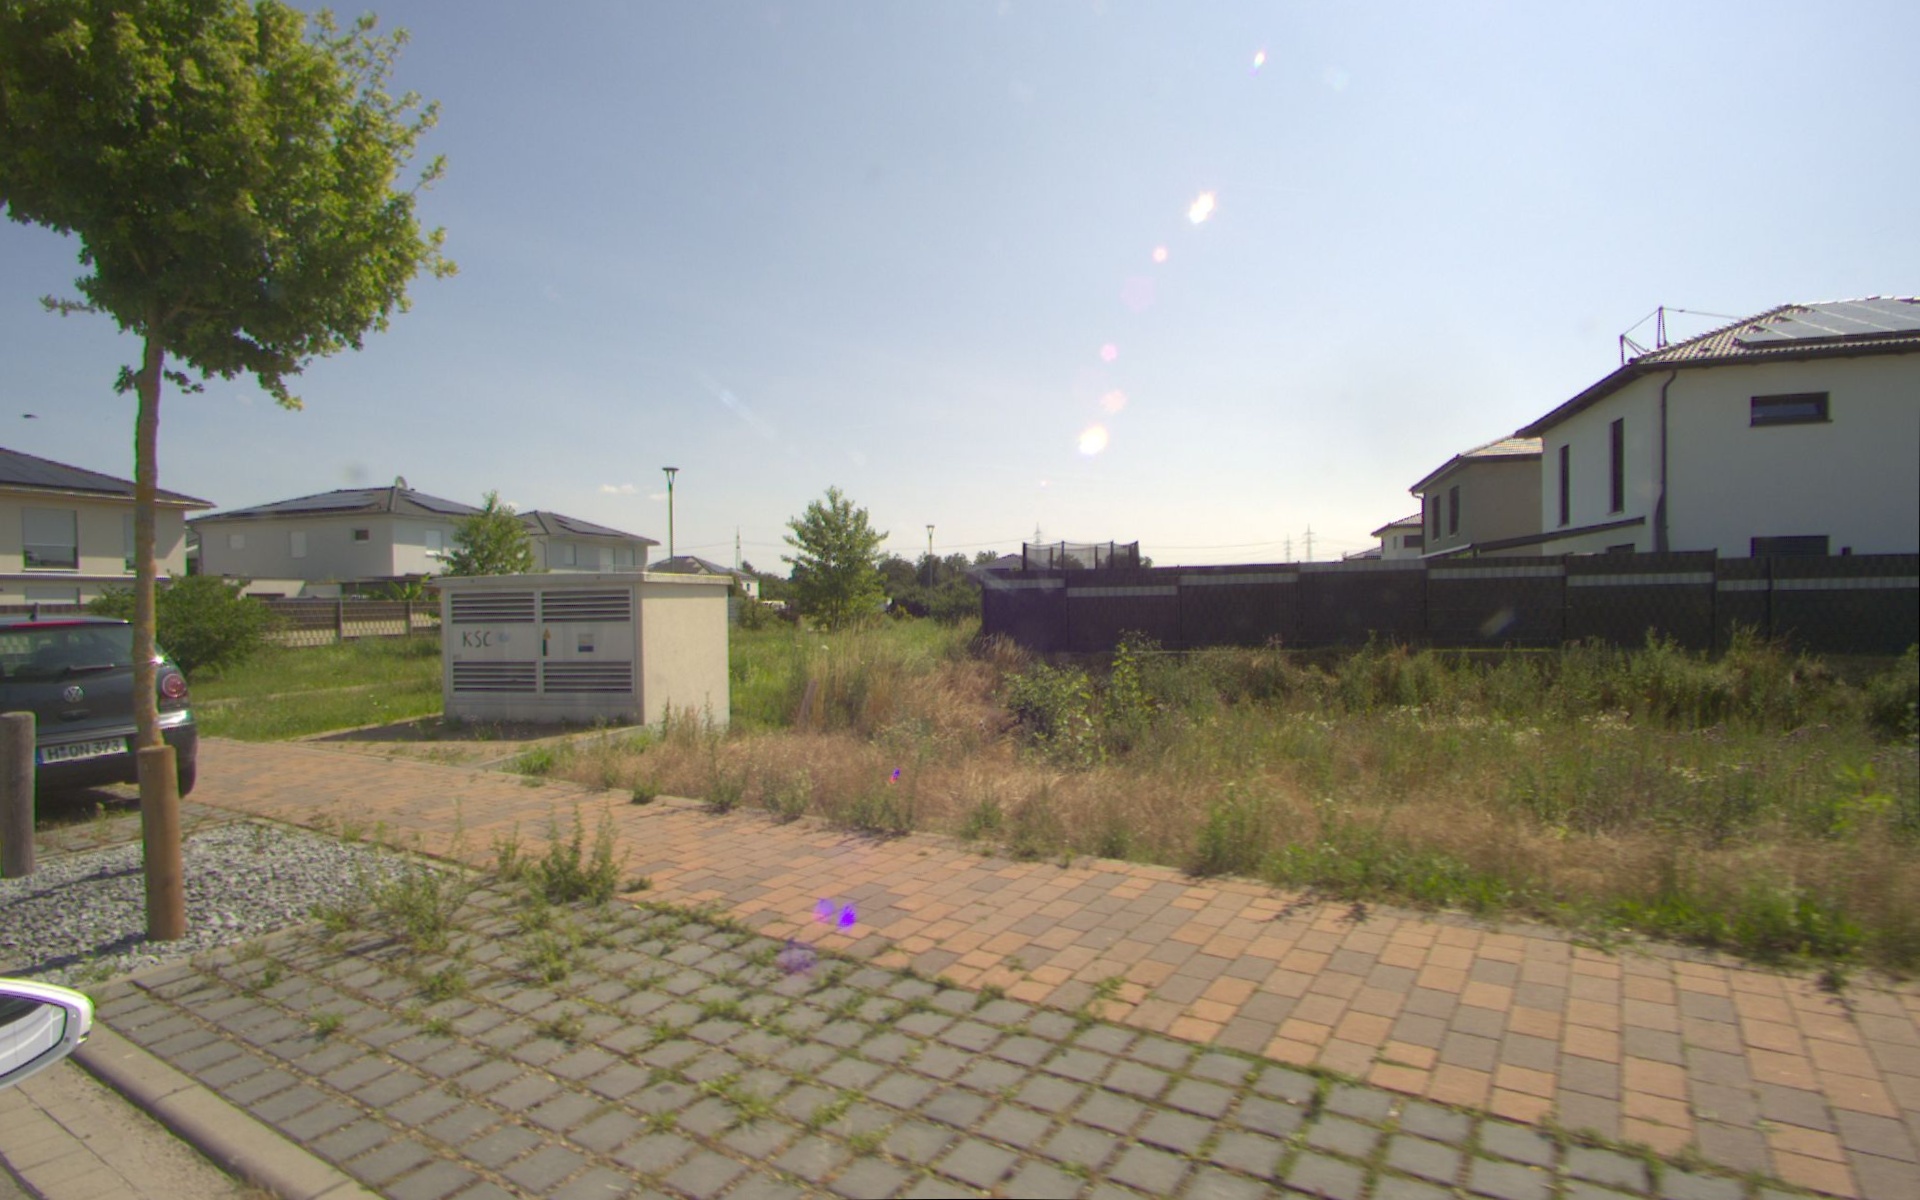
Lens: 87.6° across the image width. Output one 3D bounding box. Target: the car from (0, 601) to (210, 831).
[{"bbox_3d":[-7.557,0.784,7.778,3.622,1.494,1.595,-1,-1,32],"label":"car"}]
